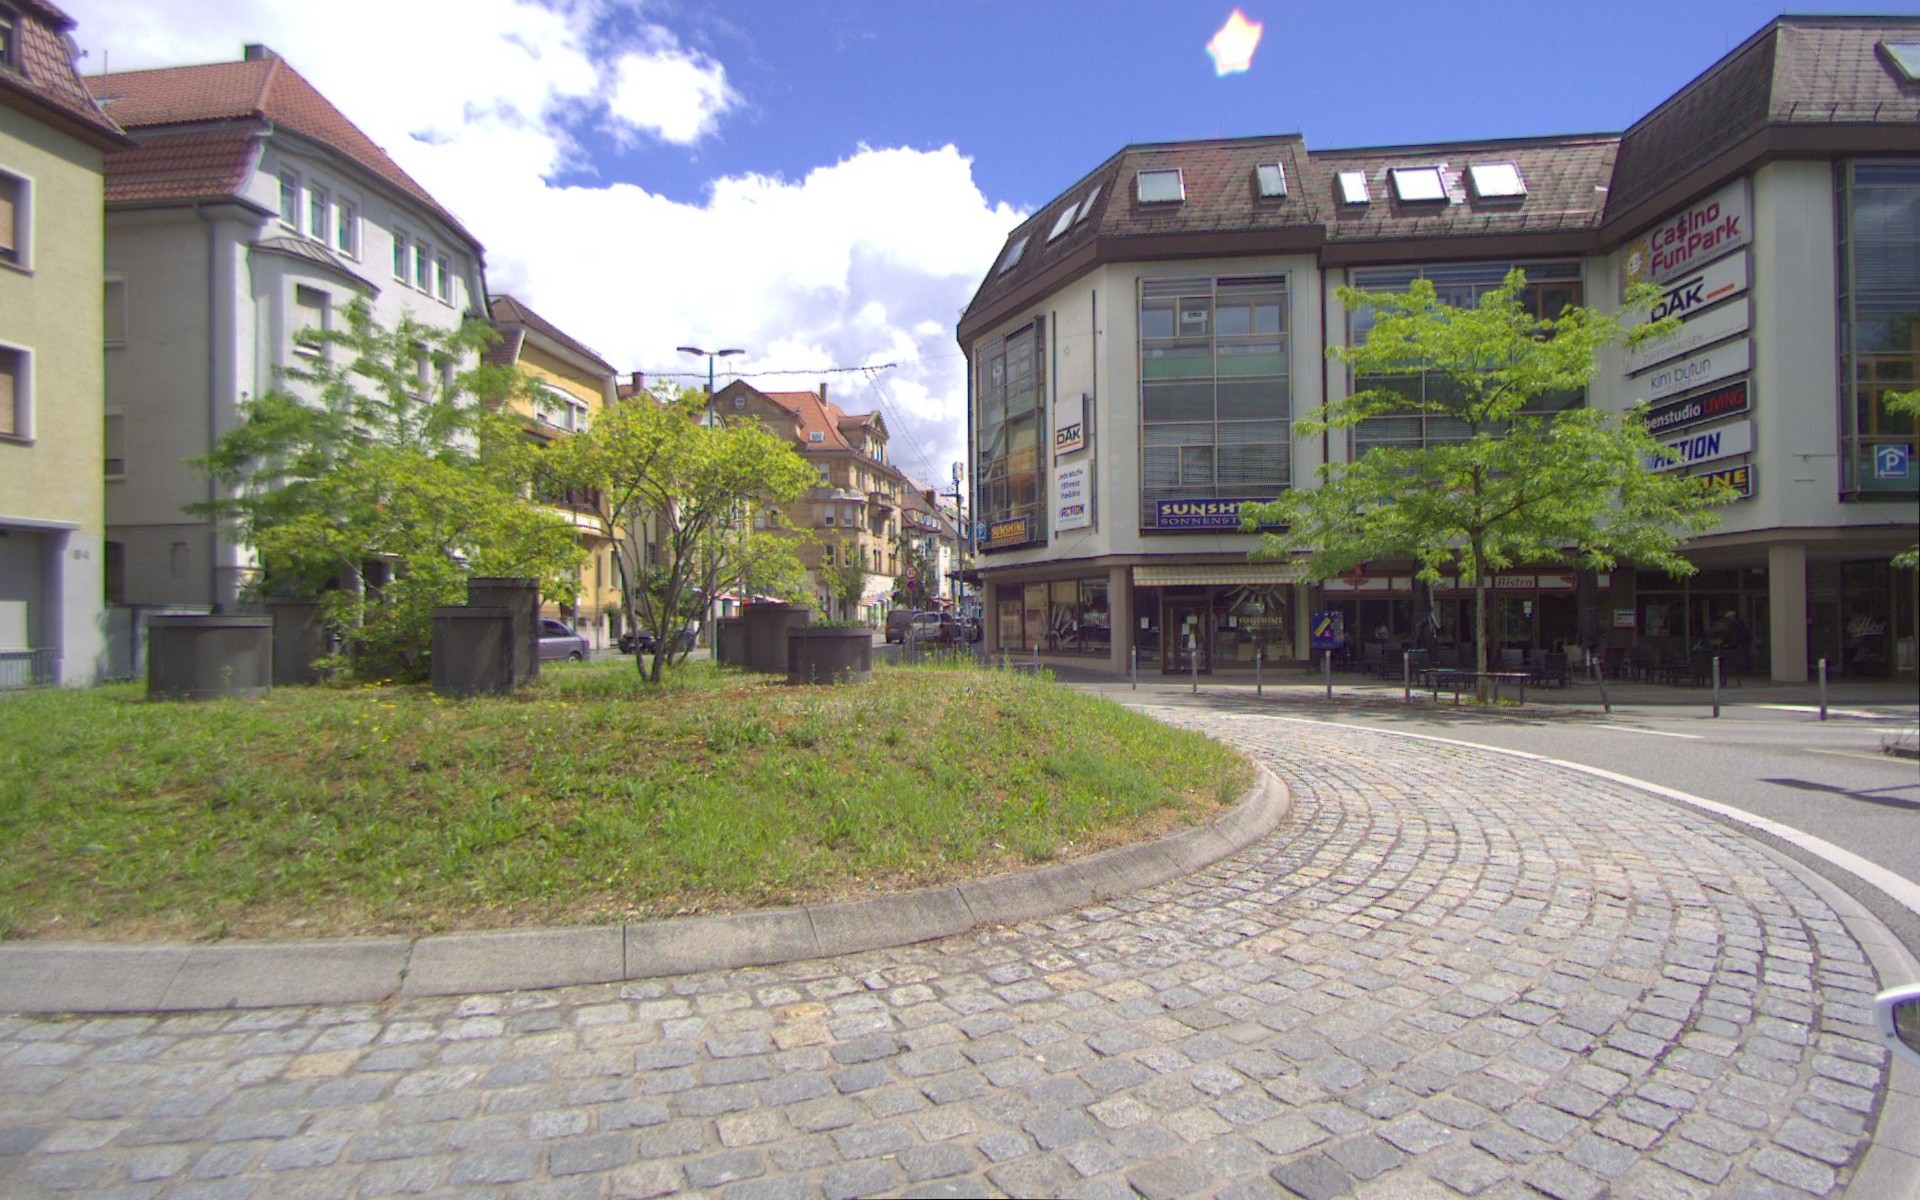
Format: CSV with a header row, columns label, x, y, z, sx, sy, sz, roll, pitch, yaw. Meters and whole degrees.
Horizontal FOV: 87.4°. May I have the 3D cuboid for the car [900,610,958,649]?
label,x,y,z,sx,sy,sz,roll,pitch,yaw
car,-1.451,1.378,48.338,1.793,1.754,4.236,-1,-1,12

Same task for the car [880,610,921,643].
label,x,y,z,sx,sy,sz,roll,pitch,yaw
car,-3.289,1.452,56.314,1.793,1.729,4.442,1,-1,3

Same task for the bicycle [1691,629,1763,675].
label,x,y,z,sx,sy,sz,roll,pitch,yaw
bicycle,20.850,1.392,27.324,1.521,1.183,0.493,0,-1,42

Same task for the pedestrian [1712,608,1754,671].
label,x,y,z,sx,sy,sz,roll,pitch,yaw
pedestrian,21.096,1.071,27.418,0.684,1.697,0.617,0,0,-2

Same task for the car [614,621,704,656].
label,x,y,z,sx,sy,sz,roll,pitch,yaw
car,-11.993,1.490,40.336,1.680,1.262,4.414,0,0,10

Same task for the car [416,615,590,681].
label,x,y,z,sx,sy,sz,roll,pitch,yaw
car,-10.409,1.056,23.220,1.680,1.372,4.003,0,-1,10

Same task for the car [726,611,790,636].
label,x,y,z,sx,sy,sz,roll,pitch,yaw
car,-14.475,1.677,72.166,4.350,1.799,1.998,0,-1,-7
